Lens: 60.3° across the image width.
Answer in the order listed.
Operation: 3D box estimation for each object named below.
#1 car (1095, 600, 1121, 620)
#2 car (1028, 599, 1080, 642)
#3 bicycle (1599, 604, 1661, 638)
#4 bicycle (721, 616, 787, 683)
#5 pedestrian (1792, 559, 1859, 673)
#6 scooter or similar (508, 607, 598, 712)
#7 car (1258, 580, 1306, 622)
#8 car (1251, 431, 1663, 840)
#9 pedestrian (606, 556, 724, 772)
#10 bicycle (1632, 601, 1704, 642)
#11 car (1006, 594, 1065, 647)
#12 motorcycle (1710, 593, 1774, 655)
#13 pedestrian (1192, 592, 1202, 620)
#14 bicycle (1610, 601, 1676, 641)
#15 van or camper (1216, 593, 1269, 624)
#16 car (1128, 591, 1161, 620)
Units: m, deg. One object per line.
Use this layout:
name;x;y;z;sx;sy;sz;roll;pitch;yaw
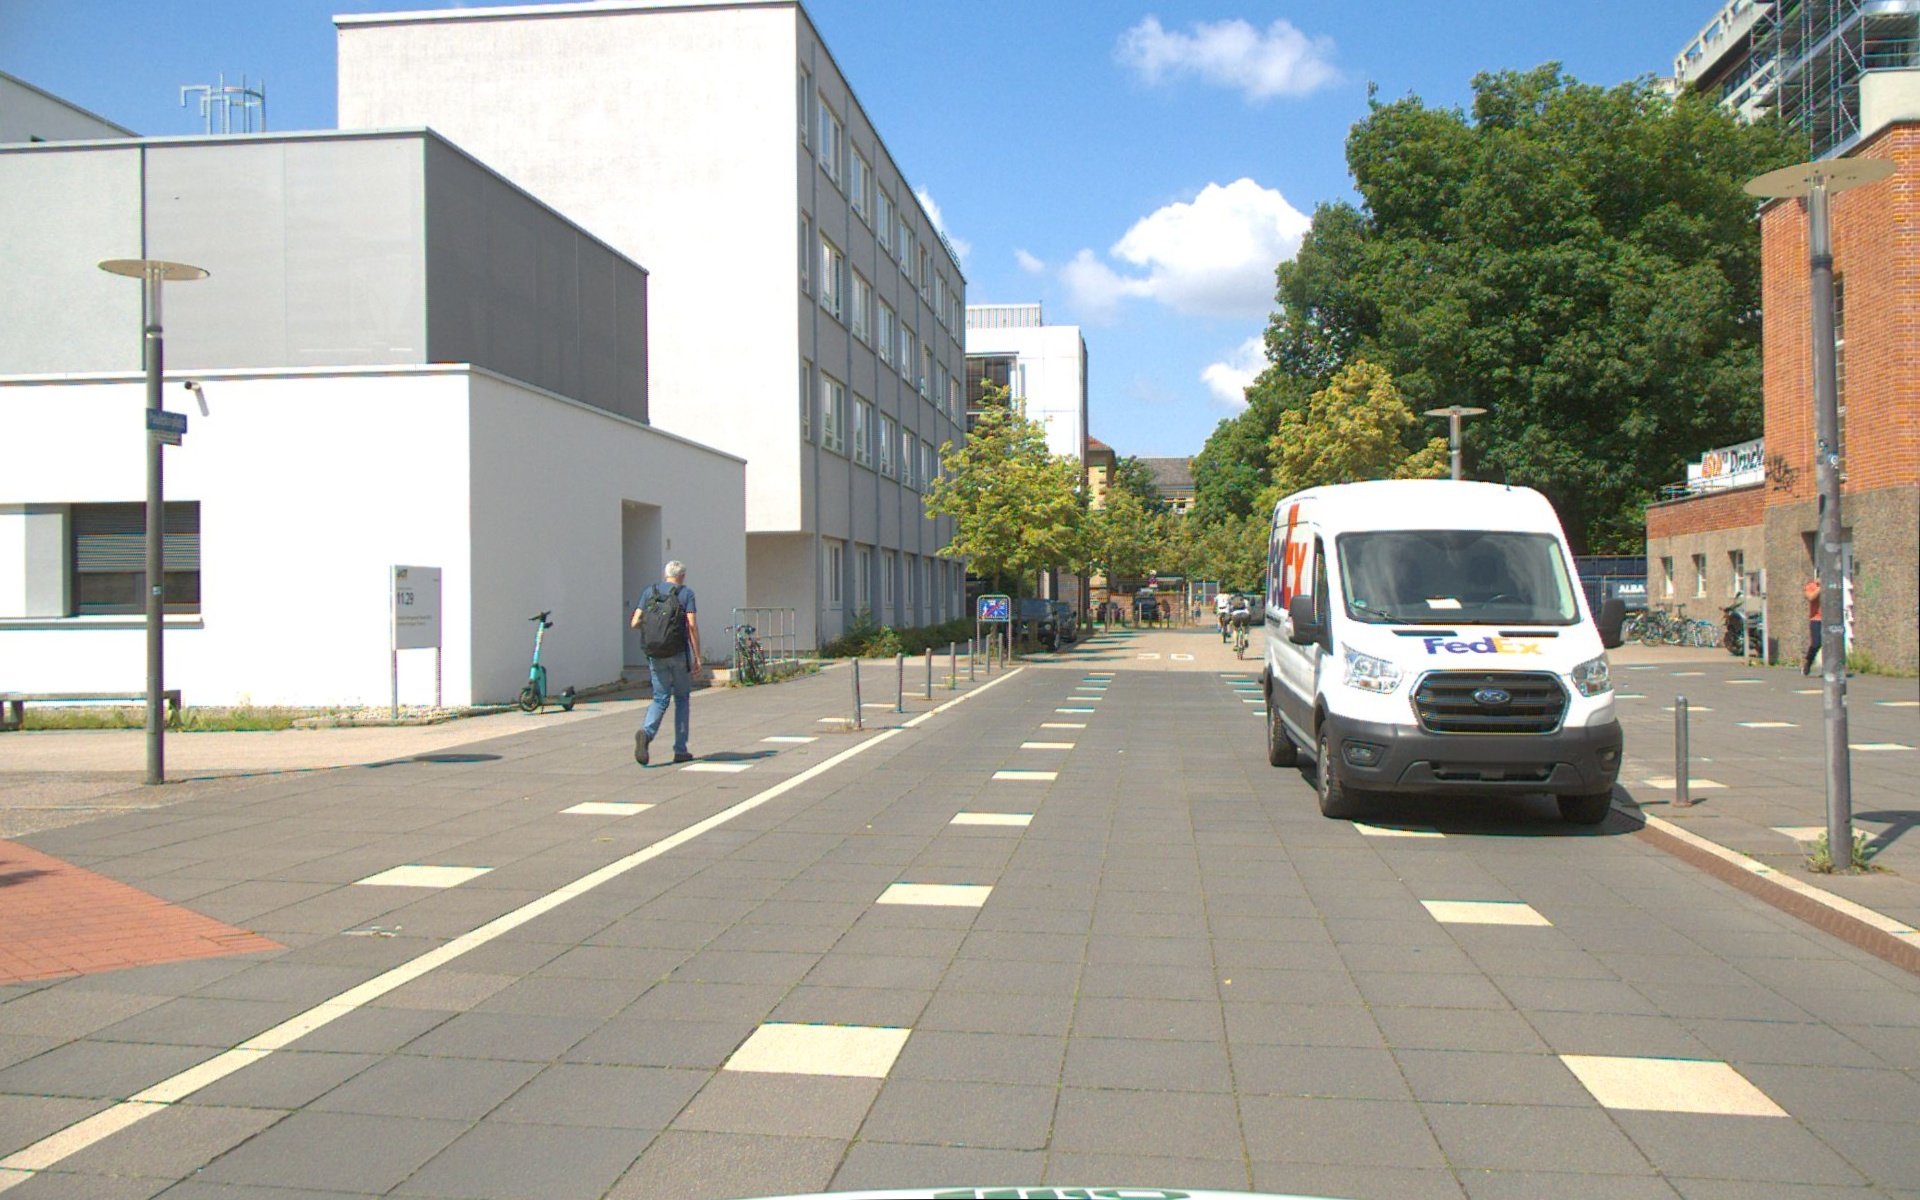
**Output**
car;10.362;0.685;115.836;1.779;1.347;3.770;0;0;6
car;3.470;0.717;60.526;1.740;1.486;4.261;1;0;5
bicycle;20.170;0.627;49.802;1.636;1.021;0.448;-1;0;7
bicycle;-3.501;0.833;28.247;0.531;1.080;1.901;-1;0;12
pedestrian;14.526;0.266;27.787;0.649;1.866;0.906;0;0;1
scooter or similar;-5.183;0.743;21.115;0.472;1.285;1.314;0;0;19
car;15.644;0.056;80.155;1.809;1.924;4.893;-1;0;16
car;3.669;0.228;13.449;2.015;2.588;5.853;-1;0;5
pedestrian;-2.618;0.548;14.780;0.806;1.849;1.144;0;0;2
bicycle;19.440;0.590;45.442;1.767;1.129;0.448;-1;0;7
car;2.417;0.613;52.230;1.661;1.591;4.070;-1;0;5
motorcycle;17.541;0.515;37.142;0.681;1.346;2.222;-1;0;9
pedestrian;15.348;0.360;107.062;0.571;1.795;0.912;-1;0;12
bicycle;19.606;0.600;47.497;1.665;1.129;0.448;-1;0;7
van or camper;18.237;0.541;106.602;1.915;1.957;5.414;1;0;27
car;12.873;0.363;115.571;2.129;1.959;5.189;0;0;5
